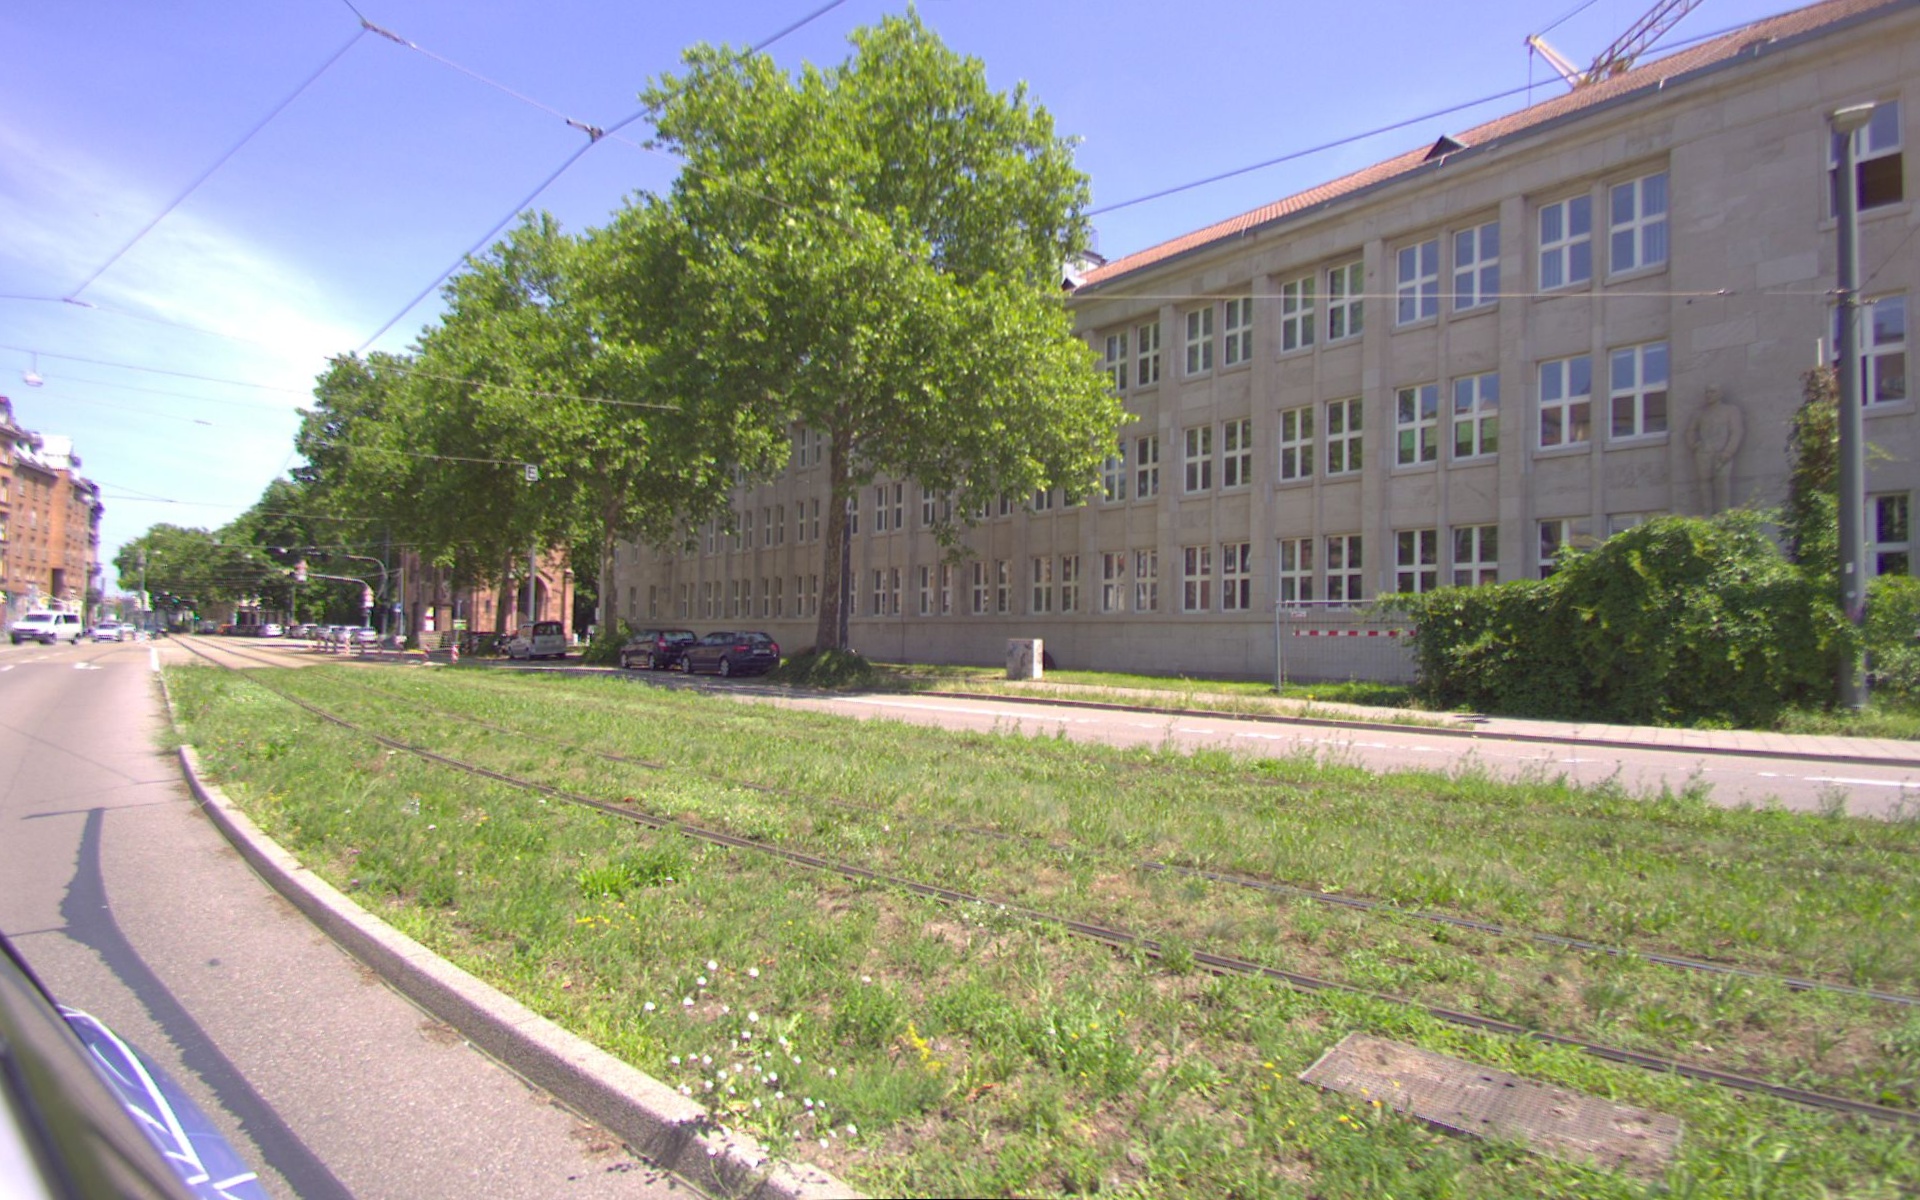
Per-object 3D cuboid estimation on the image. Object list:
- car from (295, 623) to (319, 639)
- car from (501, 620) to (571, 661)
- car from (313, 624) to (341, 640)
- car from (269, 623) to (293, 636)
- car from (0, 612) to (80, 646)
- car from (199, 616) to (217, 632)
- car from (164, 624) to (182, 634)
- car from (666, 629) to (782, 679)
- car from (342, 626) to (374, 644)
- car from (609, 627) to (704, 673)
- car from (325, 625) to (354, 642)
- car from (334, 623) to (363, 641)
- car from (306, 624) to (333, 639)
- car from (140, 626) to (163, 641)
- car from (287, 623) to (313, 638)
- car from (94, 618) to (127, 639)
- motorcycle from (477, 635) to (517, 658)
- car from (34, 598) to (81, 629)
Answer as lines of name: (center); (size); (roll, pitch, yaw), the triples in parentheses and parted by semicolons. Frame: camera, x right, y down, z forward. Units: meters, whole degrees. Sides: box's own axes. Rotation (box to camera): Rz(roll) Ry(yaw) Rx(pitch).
car: (-70.142, 3.346, 108.685); (1.720, 1.665, 3.913); (1, -2, -38)
car: (-19.807, 1.845, 47.218); (1.967, 1.824, 4.310); (1, -2, -37)
car: (-60.261, 3.030, 96.365); (1.721, 1.470, 3.759); (1, -2, -40)
car: (-84.813, 3.698, 126.359); (1.948, 1.575, 4.005); (2, -2, -42)
car: (-55.199, 1.707, 60.684); (2.129, 1.953, 4.870); (1, -2, -22)
car: (-112.188, 3.619, 150.931); (1.794, 2.314, 3.766); (2, -2, -42)
car: (-117.069, 4.342, 150.541); (1.725, 1.405, 4.352); (0, -1, -42)
car: (-7.422, 1.641, 31.574); (1.569, 1.434, 4.327); (2, -2, -43)
car: (-50.260, 2.894, 84.471); (1.637, 1.470, 4.228); (1, -2, -39)
car: (-10.812, 1.719, 35.913); (1.740, 1.494, 4.331); (1, -2, -39)
car: (-56.453, 3.045, 92.085); (1.637, 1.470, 4.065); (1, -2, -40)
car: (-53.423, 2.774, 88.372); (1.637, 1.470, 4.066); (1, -2, -39)
car: (-63.506, 3.107, 100.349); (1.721, 1.535, 3.759); (1, -2, -40)
car: (-87.212, 3.598, 109.142); (1.773, 1.586, 4.006); (1, -2, -40)
car: (-74.623, 3.415, 114.405); (1.968, 1.730, 4.007); (1, -2, -39)
car: (-65.440, 2.206, 78.006); (1.772, 1.586, 4.008); (1, -2, -38)
motorcycle: (-23.145, 2.295, 50.590); (0.722, 1.076, 1.860); (0, 0, 20)
car: (-73.188, 1.117, 82.115); (1.967, 2.348, 5.421); (6, -4, -34)
